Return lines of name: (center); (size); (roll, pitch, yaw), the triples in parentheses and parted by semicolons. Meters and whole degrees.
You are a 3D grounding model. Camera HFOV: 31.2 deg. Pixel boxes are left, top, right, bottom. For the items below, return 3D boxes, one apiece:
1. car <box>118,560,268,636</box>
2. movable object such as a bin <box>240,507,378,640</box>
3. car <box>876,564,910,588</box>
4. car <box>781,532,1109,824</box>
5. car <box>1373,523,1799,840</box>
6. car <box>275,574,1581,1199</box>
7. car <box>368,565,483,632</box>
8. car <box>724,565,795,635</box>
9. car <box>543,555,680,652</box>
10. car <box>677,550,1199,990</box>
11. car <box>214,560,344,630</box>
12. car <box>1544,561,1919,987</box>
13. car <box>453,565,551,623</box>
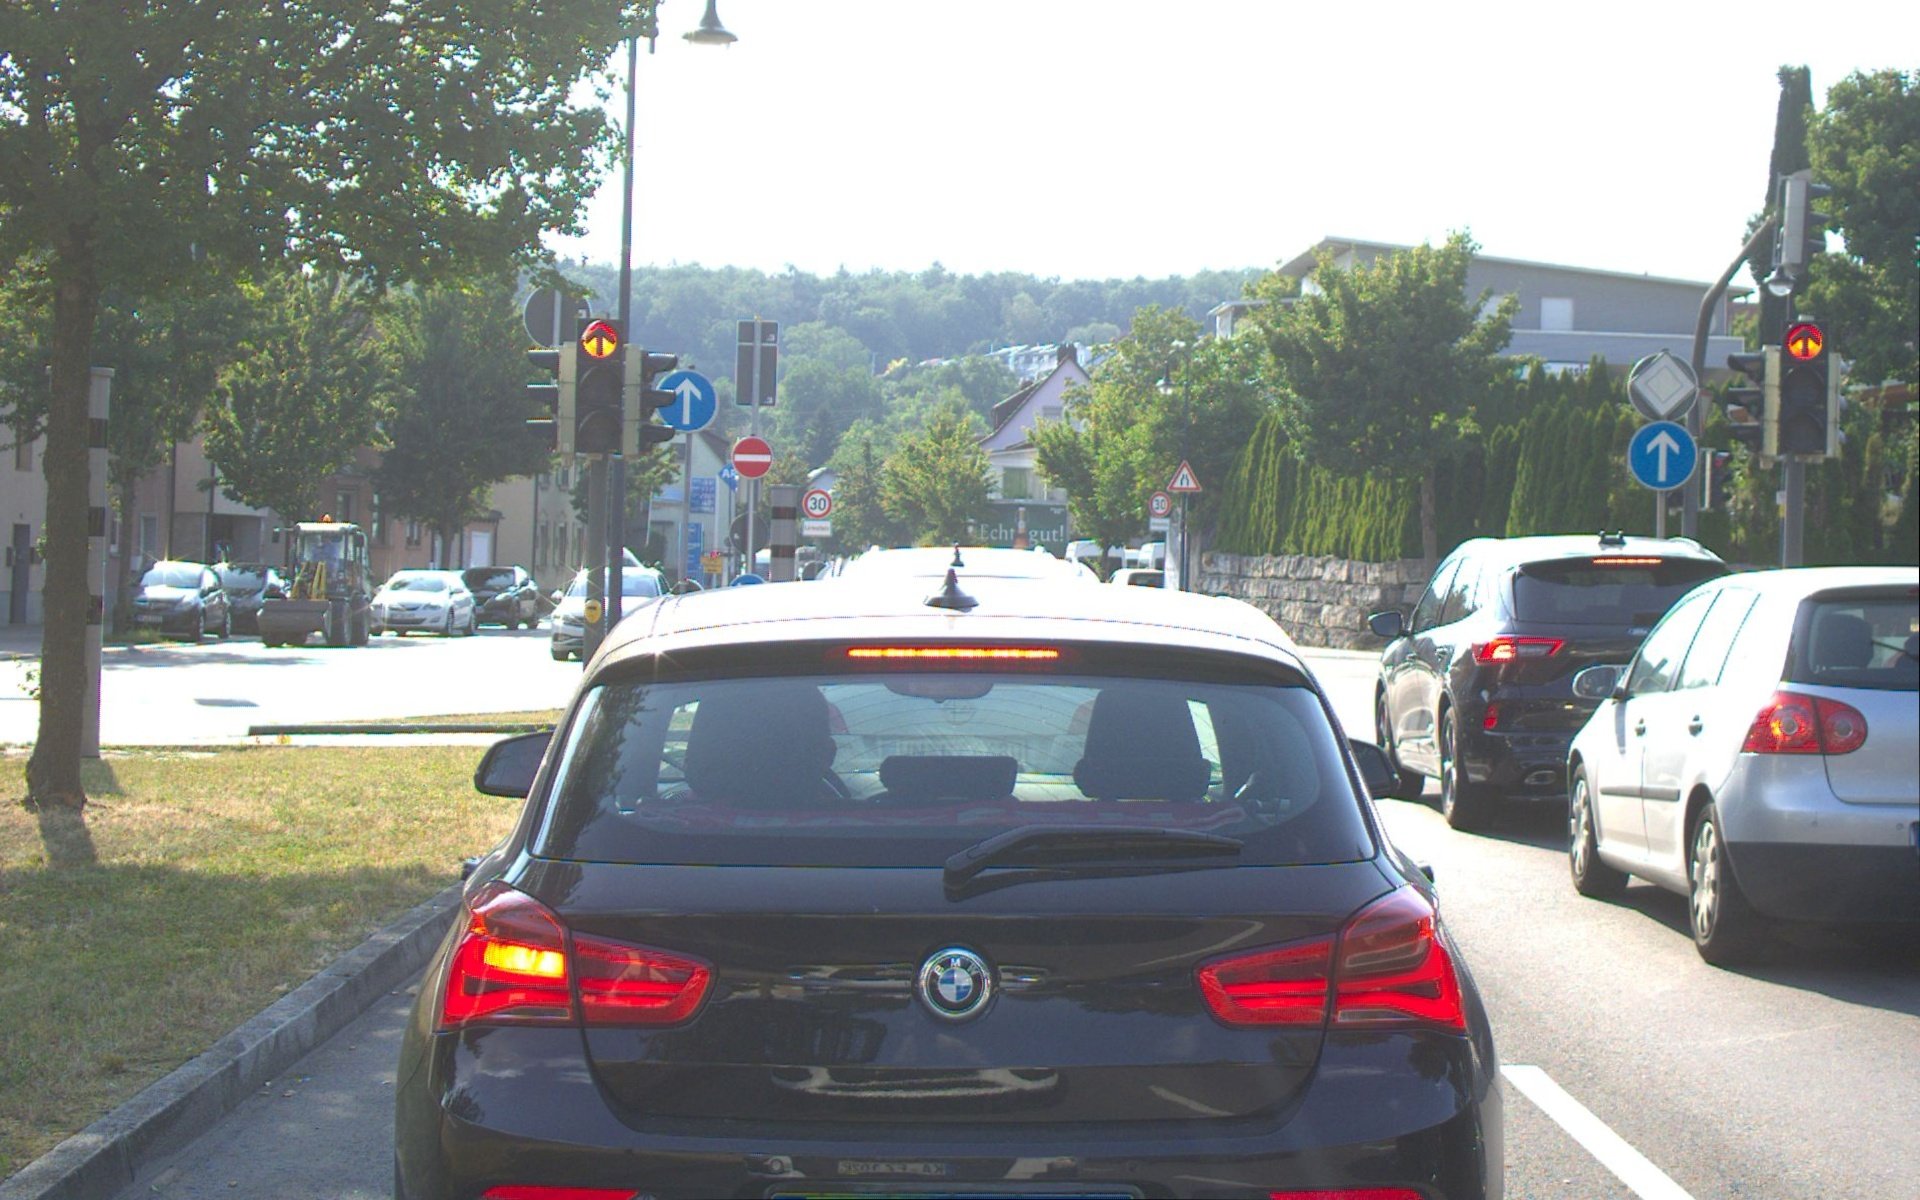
car: (-14.937, -0.062, 67.168); (1.737, 1.296, 4.000); (5, 1, 3)
movable object such as a bin: (-12.257, -0.510, 64.992); (1.736, 2.433, 4.450); (0, 1, 0)
car: (-4.068, -1.484, 209.823); (1.737, 1.296, 3.799); (5, 1, 2)
car: (-0.080, 0.392, 21.059); (1.788, 1.588, 4.281); (-1, 1, 0)
car: (3.529, 0.397, 20.039); (1.761, 1.650, 3.903); (-1, 1, 0)
car: (-0.037, 0.677, 6.874); (1.788, 1.393, 4.281); (-1, 1, 0)
car: (-11.931, -0.058, 76.914); (1.737, 1.296, 3.799); (5, 1, 2)
car: (-7.123, -0.030, 122.513); (2.084, 2.385, 5.528); (1, 1, 1)
car: (-5.590, 0.029, 55.551); (1.839, 1.477, 4.000); (1, 1, -1)
car: (-0.073, 0.557, 14.020); (1.788, 1.488, 4.281); (-1, 1, 0)
car: (-14.515, -0.119, 73.444); (1.737, 1.296, 4.000); (5, 1, 2)
car: (3.556, 0.575, 13.758); (1.761, 1.421, 3.903); (-1, 1, 0)
car: (-11.668, -0.171, 87.781); (1.737, 1.296, 3.799); (5, 1, 2)
